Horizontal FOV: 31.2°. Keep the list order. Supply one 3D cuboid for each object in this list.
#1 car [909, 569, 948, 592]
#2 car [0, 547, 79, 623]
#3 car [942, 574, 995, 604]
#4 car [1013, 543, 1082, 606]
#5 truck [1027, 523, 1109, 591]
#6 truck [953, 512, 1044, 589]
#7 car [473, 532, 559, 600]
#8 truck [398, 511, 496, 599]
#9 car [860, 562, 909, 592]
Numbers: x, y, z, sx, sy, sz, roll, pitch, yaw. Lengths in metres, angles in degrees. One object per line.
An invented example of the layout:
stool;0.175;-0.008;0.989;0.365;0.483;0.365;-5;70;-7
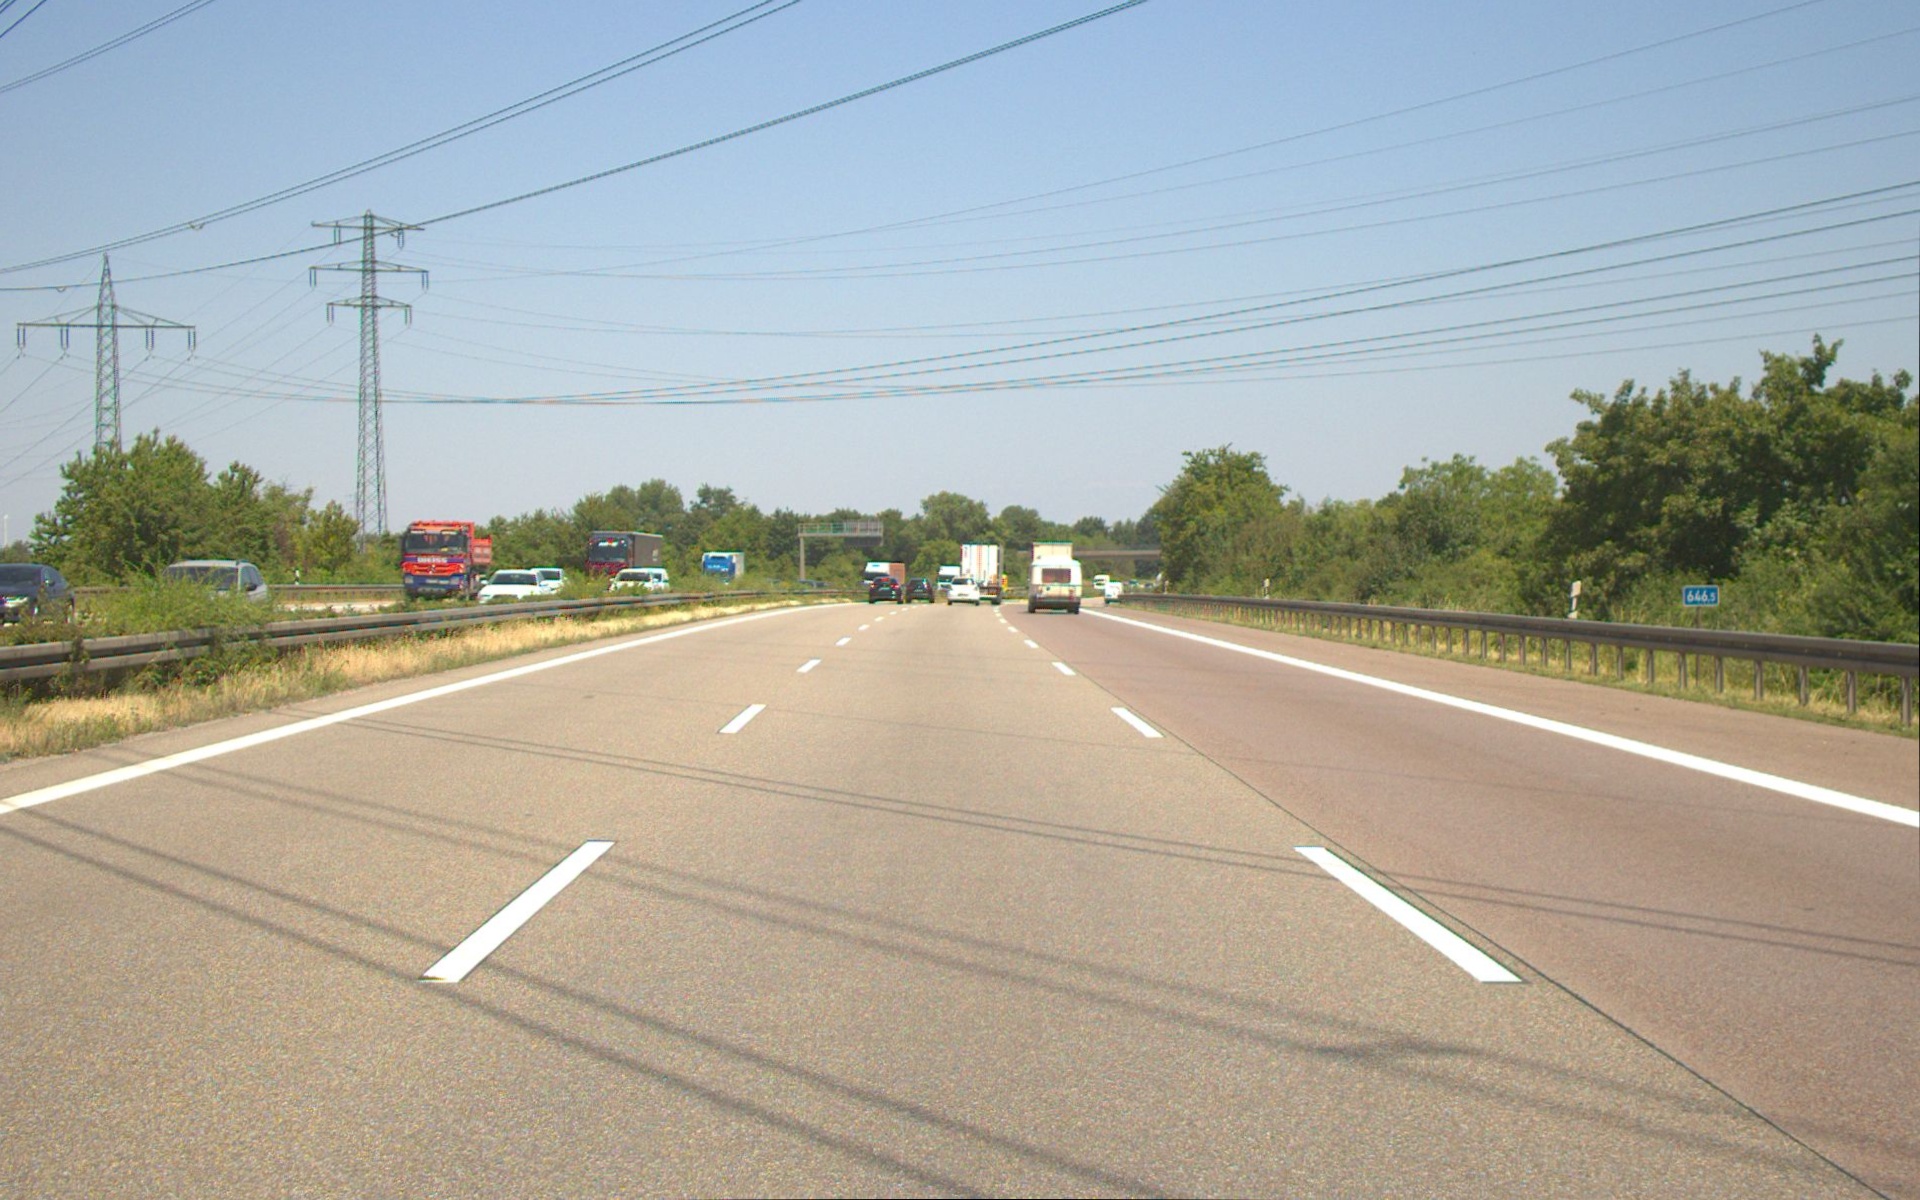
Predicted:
car;-2.127;-1.325;233.479;1.828;1.542;4.317;2;1;9
car;-21.599;-0.359;78.114;1.993;1.655;5.089;-1;1;-2
car;0.475;-0.598;184.635;1.829;1.542;4.316;2;1;14
car;3.344;-0.996;132.650;2.442;2.313;5.322;0;1;-1
truck;7.332;-2.940;230.451;3.182;4.289;16.011;1;1;10
truck;2.733;-3.417;235.370;3.668;5.001;16.011;1;1;10
car;-13.566;-1.067;105.282;1.993;2.007;4.921;1;1;0
truck;-21.260;-1.899;142.843;2.770;3.514;8.534;1;1;0
car;-4.057;-1.230;185.901;1.828;1.542;4.317;2;1;9
